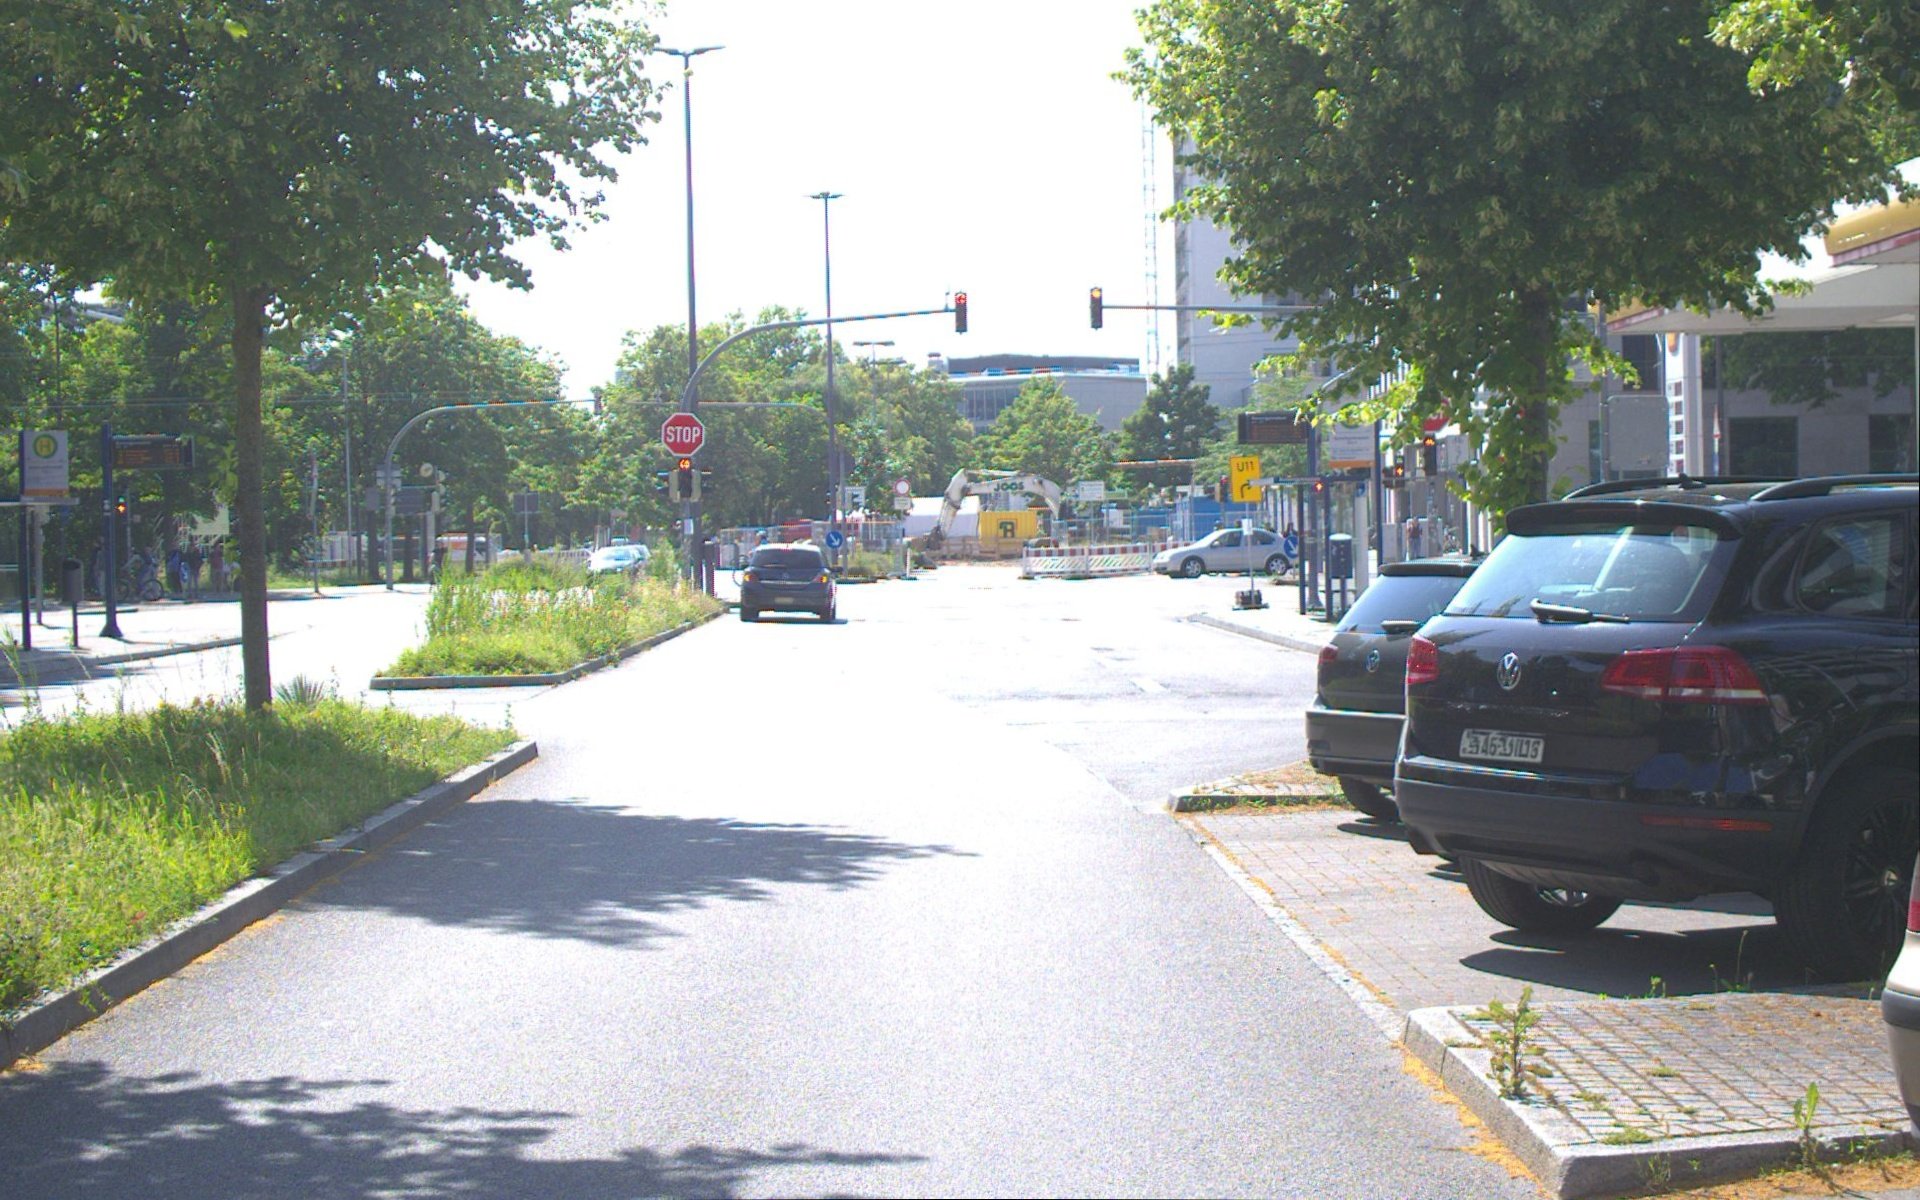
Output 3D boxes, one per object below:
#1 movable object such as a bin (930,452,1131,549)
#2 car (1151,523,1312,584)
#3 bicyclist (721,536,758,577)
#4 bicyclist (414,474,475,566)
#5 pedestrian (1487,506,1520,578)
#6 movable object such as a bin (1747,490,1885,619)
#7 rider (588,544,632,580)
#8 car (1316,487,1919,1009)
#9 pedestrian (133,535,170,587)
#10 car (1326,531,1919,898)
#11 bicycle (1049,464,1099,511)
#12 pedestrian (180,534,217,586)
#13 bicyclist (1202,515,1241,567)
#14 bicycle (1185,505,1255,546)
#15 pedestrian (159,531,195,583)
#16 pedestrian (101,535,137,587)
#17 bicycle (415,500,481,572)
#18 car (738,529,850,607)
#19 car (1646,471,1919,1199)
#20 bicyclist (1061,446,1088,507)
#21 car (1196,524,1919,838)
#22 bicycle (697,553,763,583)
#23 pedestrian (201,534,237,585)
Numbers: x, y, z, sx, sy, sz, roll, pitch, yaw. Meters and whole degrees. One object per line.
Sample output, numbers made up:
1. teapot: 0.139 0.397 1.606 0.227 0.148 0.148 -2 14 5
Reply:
1. movable object such as a bin: 3.437 -4.850 167.688 9.675 4.534 3.164 -1 1 1
2. car: 7.818 -1.355 99.218 4.380 1.633 2.000 -1 1 -3
3. bicyclist: -6.894 -1.356 107.350 1.051 1.270 0.492 -1 1 -15
4. bicyclist: -16.756 -2.600 111.886 1.599 2.921 2.353 -1 1 -1
5. pedestrian: 11.704 -1.260 74.086 0.618 1.538 0.461 -1 1 -1
6. movable object such as a bin: 11.188 -0.598 44.994 1.307 1.586 1.396 -4 1 -3
7. rider: -12.200 -1.323 119.811 1.391 1.191 2.698 -1 1 -3
8. car: 3.743 0.405 13.001 4.731 1.654 1.753 -2 1 -34
9. pedestrian: -25.249 -1.232 107.385 0.655 1.606 0.941 0 1 22
10. car: 3.853 0.435 15.845 3.986 1.468 1.769 -1 1 -28
11. bicycle: 4.843 -4.775 146.272 2.088 1.955 0.827 0 1 6
12. pedestrian: -23.614 -1.247 106.629 0.655 1.606 0.941 0 1 22
13. bicyclist: 8.526 -1.915 112.050 1.240 1.667 0.525 0 1 8
14. bicycle: 8.472 -2.429 112.045 2.229 1.280 0.525 0 1 8
15. pedestrian: -24.456 -1.350 107.423 0.655 1.606 0.941 0 1 22
16. pedestrian: -26.166 -1.205 106.982 0.655 1.606 0.941 0 1 22
17. bicycle: -16.766 -2.098 112.719 1.599 2.261 4.000 -1 1 -1
18. car: -3.159 -0.633 64.824 1.993 1.393 4.001 -1 1 -4
19. car: 3.451 0.527 7.346 3.988 1.634 1.752 -2 2 -40
20. bicyclist: 4.882 -5.251 146.256 1.070 2.565 0.827 0 1 6
21. car: 3.595 0.370 18.911 4.103 1.525 2.001 -1 1 -23
22. bicycle: -7.174 -0.993 107.270 1.999 0.880 0.527 -1 1 -15
23. pedestrian: -23.256 -1.277 107.957 0.667 1.606 0.941 0 1 22
